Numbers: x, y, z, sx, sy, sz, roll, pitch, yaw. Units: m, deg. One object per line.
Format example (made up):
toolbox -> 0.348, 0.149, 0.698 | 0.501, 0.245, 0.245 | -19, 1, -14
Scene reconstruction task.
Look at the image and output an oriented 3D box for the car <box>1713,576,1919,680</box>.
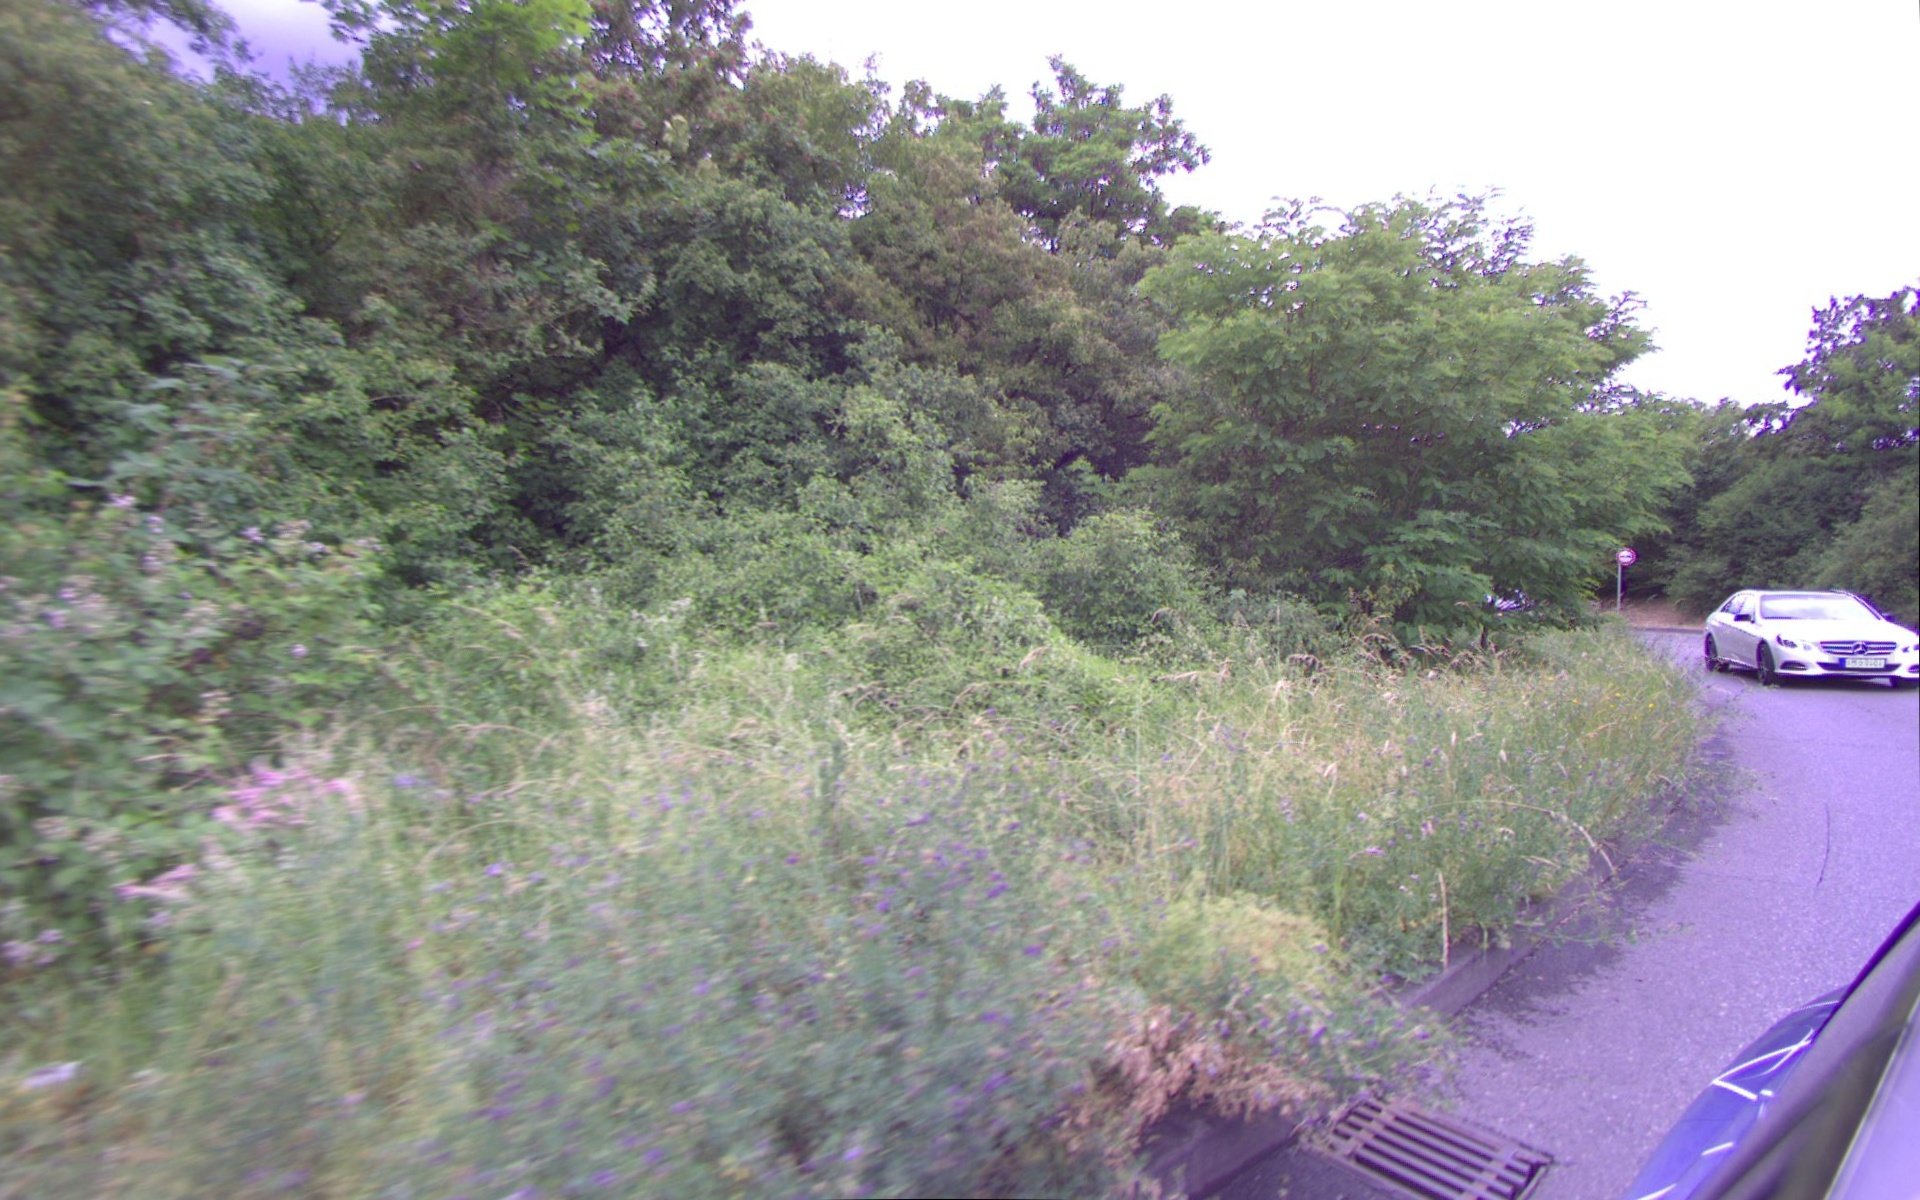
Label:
car -> 13.686, 0.360, 16.117 | 1.868, 1.440, 3.967 | -1, 1, 25
